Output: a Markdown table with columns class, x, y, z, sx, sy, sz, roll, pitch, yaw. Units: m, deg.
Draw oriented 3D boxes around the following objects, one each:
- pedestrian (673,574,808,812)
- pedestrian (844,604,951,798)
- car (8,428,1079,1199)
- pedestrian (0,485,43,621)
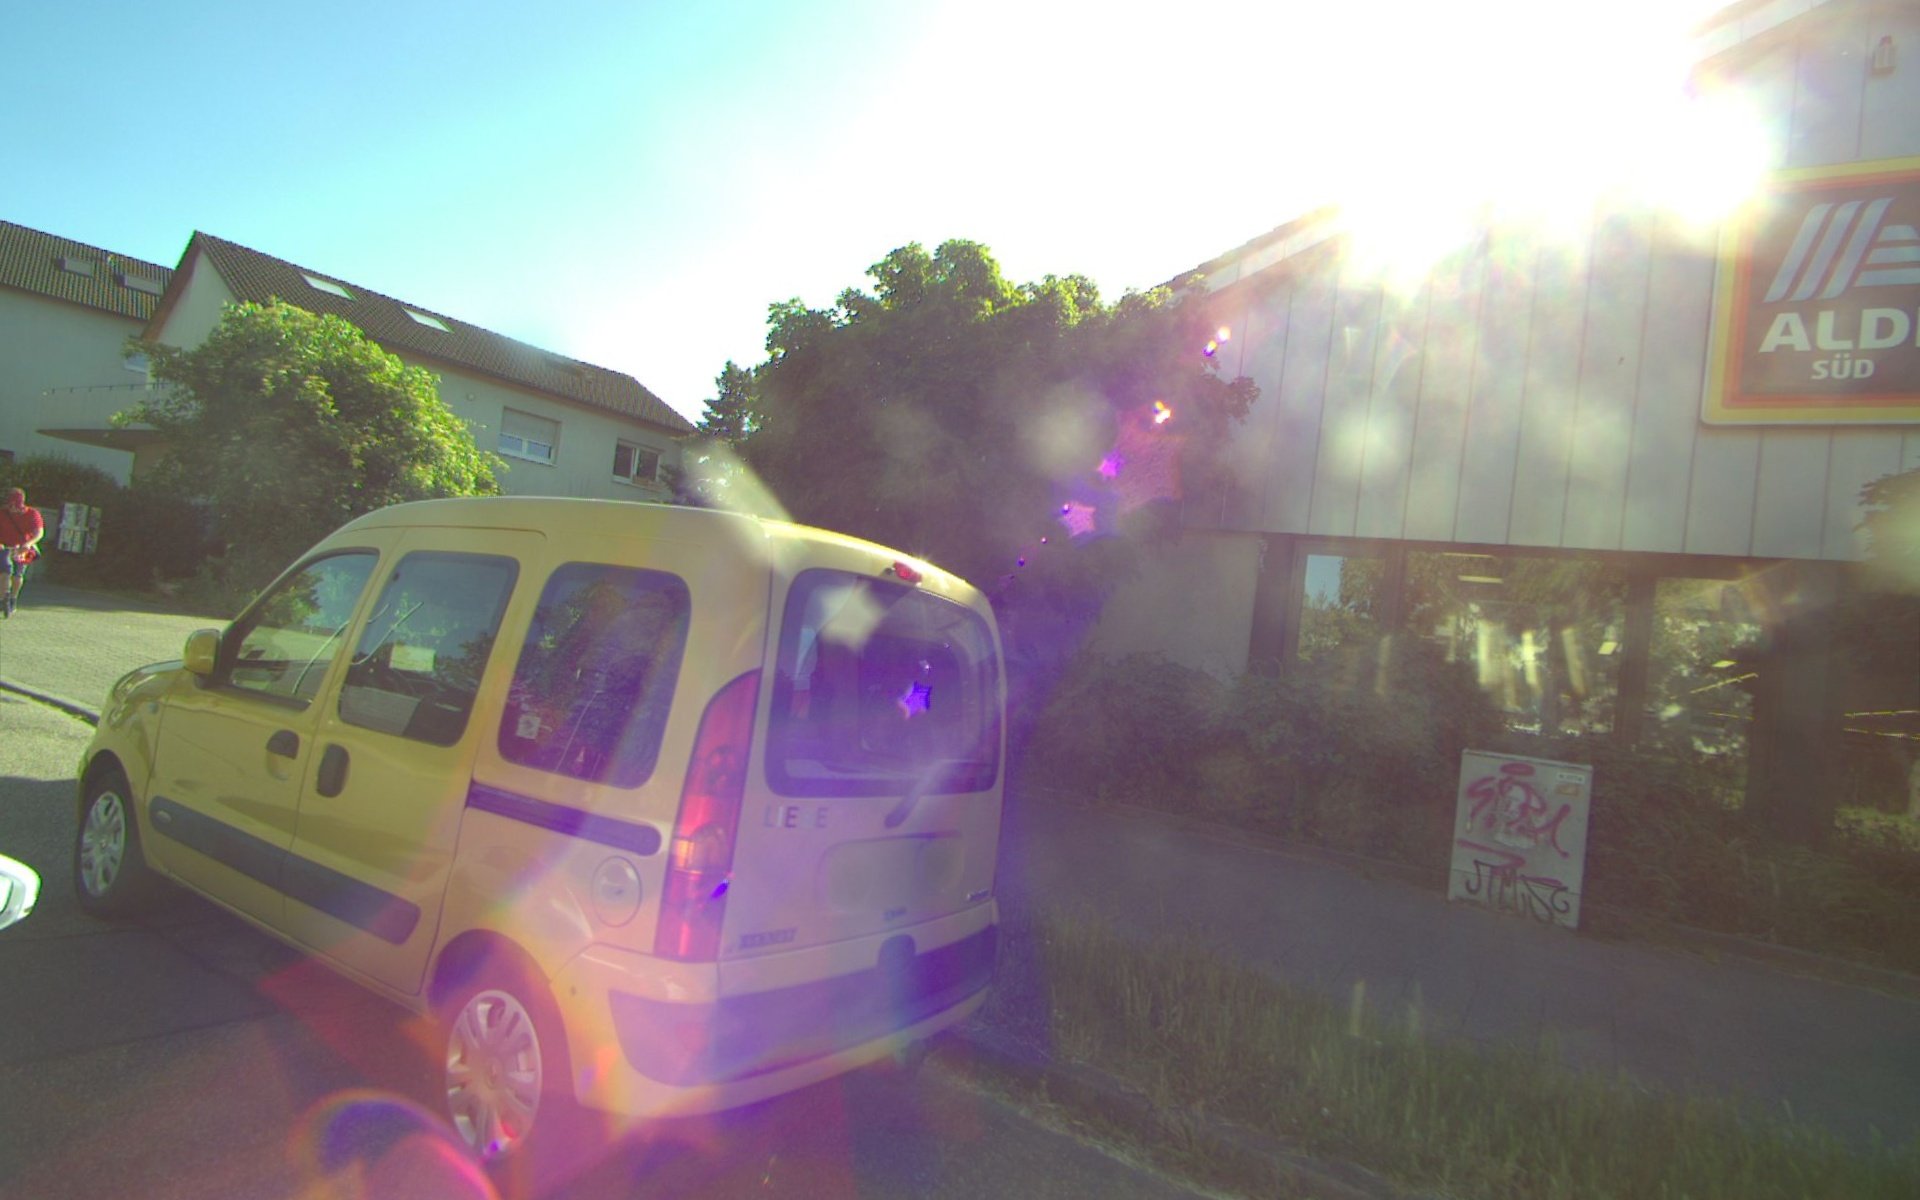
| class | x | y | z | sx | sy | sz | roll | pitch | yaw |
| --- | --- | --- | --- | --- | --- | --- | --- | --- | --- |
| pedestrian | -1.630 | 0.686 | 7.506 | 0.538 | 1.656 | 0.567 | 7 | -1 | 37 |
| pedestrian | -0.565 | 0.911 | 9.160 | 0.538 | 1.656 | 0.567 | 7 | -1 | 37 |
| car | -1.784 | 0.487 | 3.908 | 3.935 | 1.858 | 1.728 | 6 | -3 | 33 |
| pedestrian | -13.299 | -0.661 | 14.070 | 0.478 | 1.855 | 0.484 | 7 | 2 | 30 |
